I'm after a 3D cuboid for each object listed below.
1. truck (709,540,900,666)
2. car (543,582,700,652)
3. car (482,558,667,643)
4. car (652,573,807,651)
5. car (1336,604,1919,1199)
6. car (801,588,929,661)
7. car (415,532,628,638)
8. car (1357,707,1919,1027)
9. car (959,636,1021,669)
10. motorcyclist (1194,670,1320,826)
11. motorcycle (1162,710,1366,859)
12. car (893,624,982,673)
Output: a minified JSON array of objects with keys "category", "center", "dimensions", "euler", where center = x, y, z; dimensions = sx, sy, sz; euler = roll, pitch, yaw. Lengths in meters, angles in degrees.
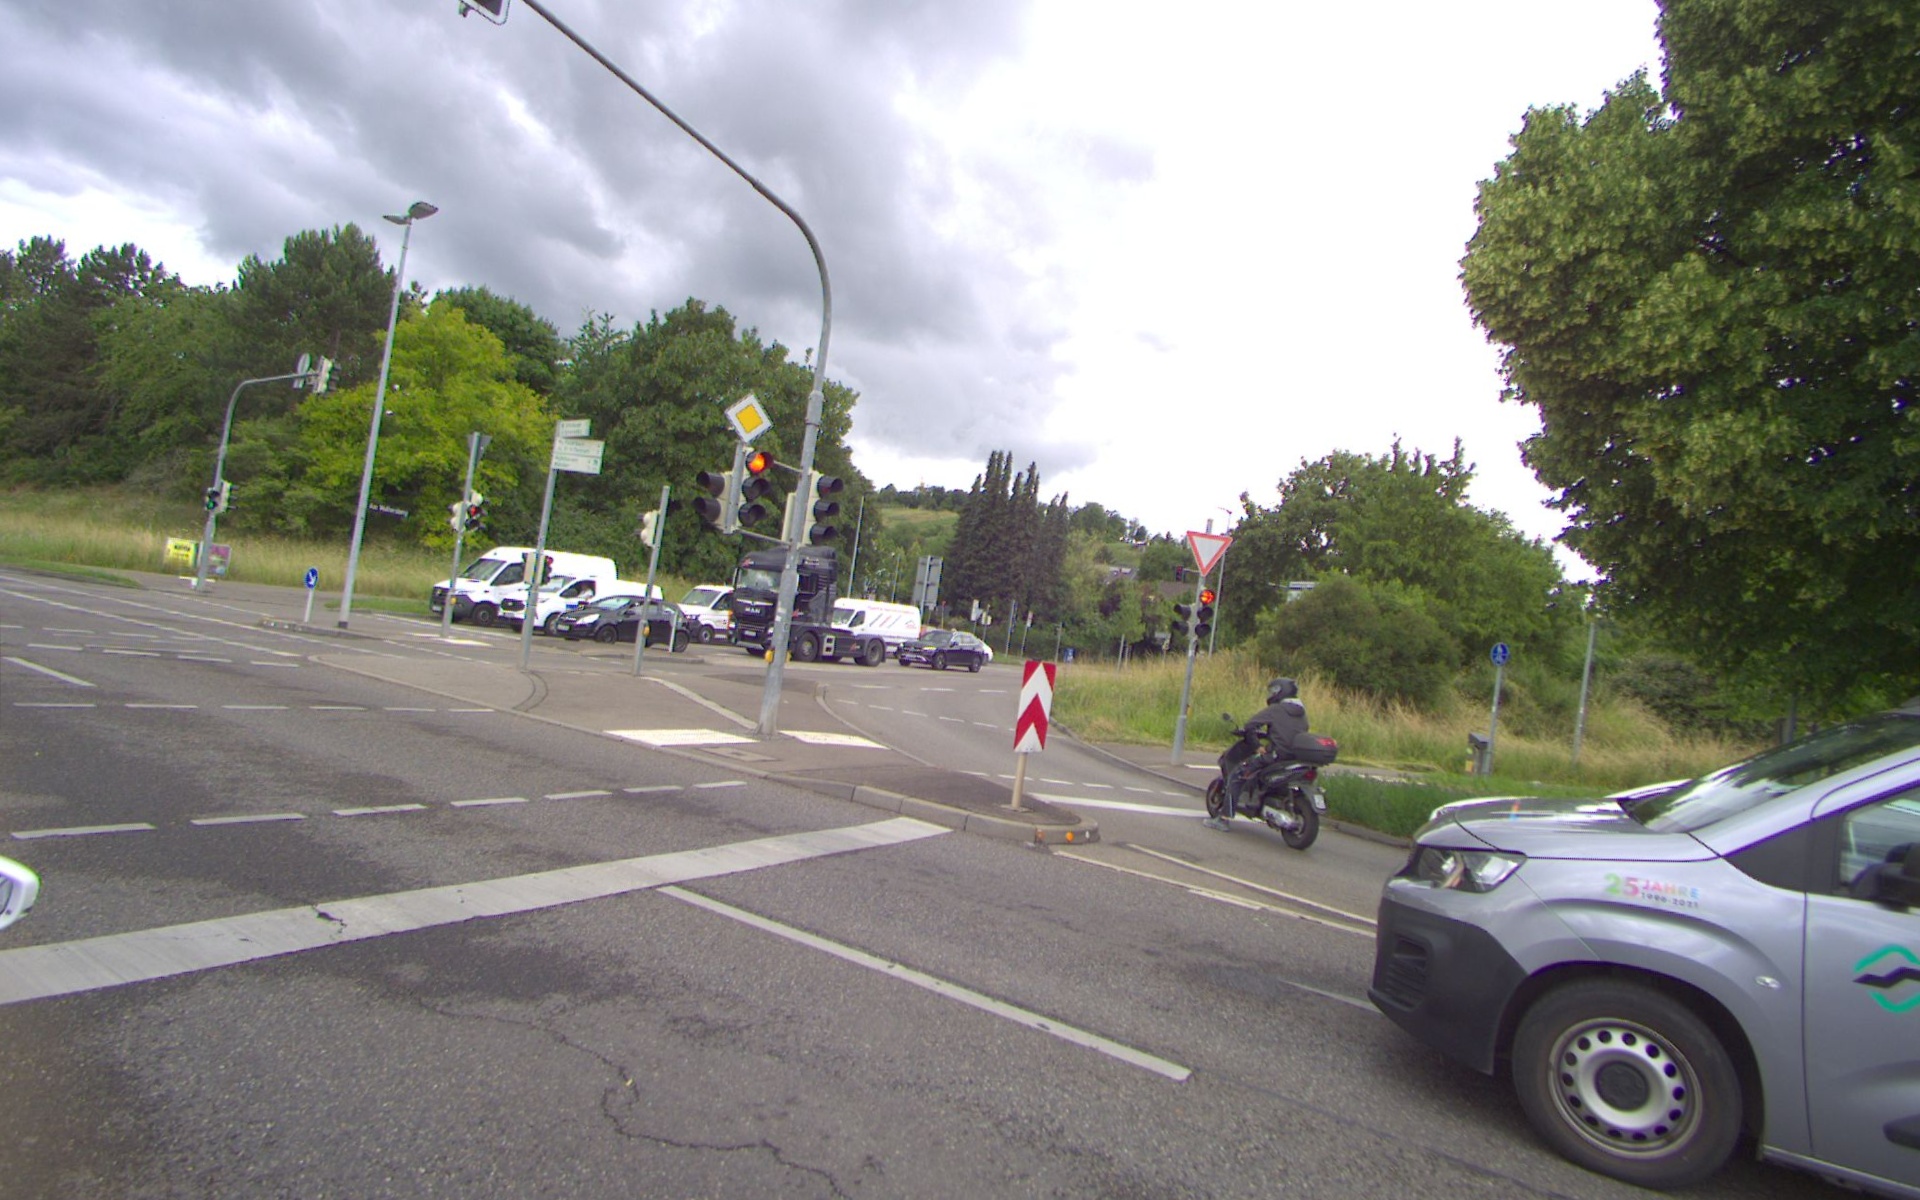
[{"category":"truck","center":[-5.233,0.200,34.807],"dimensions":[3.025,3.558,5.950],"euler":[6,-2,33]},{"category":"car","center":[-9.398,0.512,28.185],"dimensions":[1.610,1.458,3.858],"euler":[7,-2,34]},{"category":"car","center":[-11.781,0.080,31.133],"dimensions":[2.086,2.013,4.981],"euler":[5,-3,32]},{"category":"car","center":[-9.119,0.535,40.372],"dimensions":[2.193,2.413,5.948],"euler":[6,-3,35]},{"category":"car","center":[3.723,1.198,3.401],"dimensions":[4.153,1.801,1.811],"euler":[7,-1,33]},{"category":"car","center":[-4.408,1.254,48.100],"dimensions":[2.192,2.751,6.674],"euler":[6,-2,33]},{"category":"car","center":[-14.163,-0.388,32.960],"dimensions":[2.192,2.689,5.950],"euler":[6,-2,33]},{"category":"car","center":[5.574,1.880,7.422],"dimensions":[4.454,1.435,1.829],"euler":[5,-5,43]},{"category":"car","center":[1.738,2.998,56.795],"dimensions":[1.625,1.473,3.861],"euler":[7,-2,32]},{"category":"motorcyclist","center":[3.091,1.526,10.515],"dimensions":[0.750,1.437,0.813],"euler":[9,-1,-23]},{"category":"motorcycle","center":[3.075,1.853,10.441],"dimensions":[0.750,1.102,2.059],"euler":[9,-2,-23]},{"category":"car","center":[-0.870,2.007,41.312],"dimensions":[1.722,1.594,3.861],"euler":[7,-2,32]}]
